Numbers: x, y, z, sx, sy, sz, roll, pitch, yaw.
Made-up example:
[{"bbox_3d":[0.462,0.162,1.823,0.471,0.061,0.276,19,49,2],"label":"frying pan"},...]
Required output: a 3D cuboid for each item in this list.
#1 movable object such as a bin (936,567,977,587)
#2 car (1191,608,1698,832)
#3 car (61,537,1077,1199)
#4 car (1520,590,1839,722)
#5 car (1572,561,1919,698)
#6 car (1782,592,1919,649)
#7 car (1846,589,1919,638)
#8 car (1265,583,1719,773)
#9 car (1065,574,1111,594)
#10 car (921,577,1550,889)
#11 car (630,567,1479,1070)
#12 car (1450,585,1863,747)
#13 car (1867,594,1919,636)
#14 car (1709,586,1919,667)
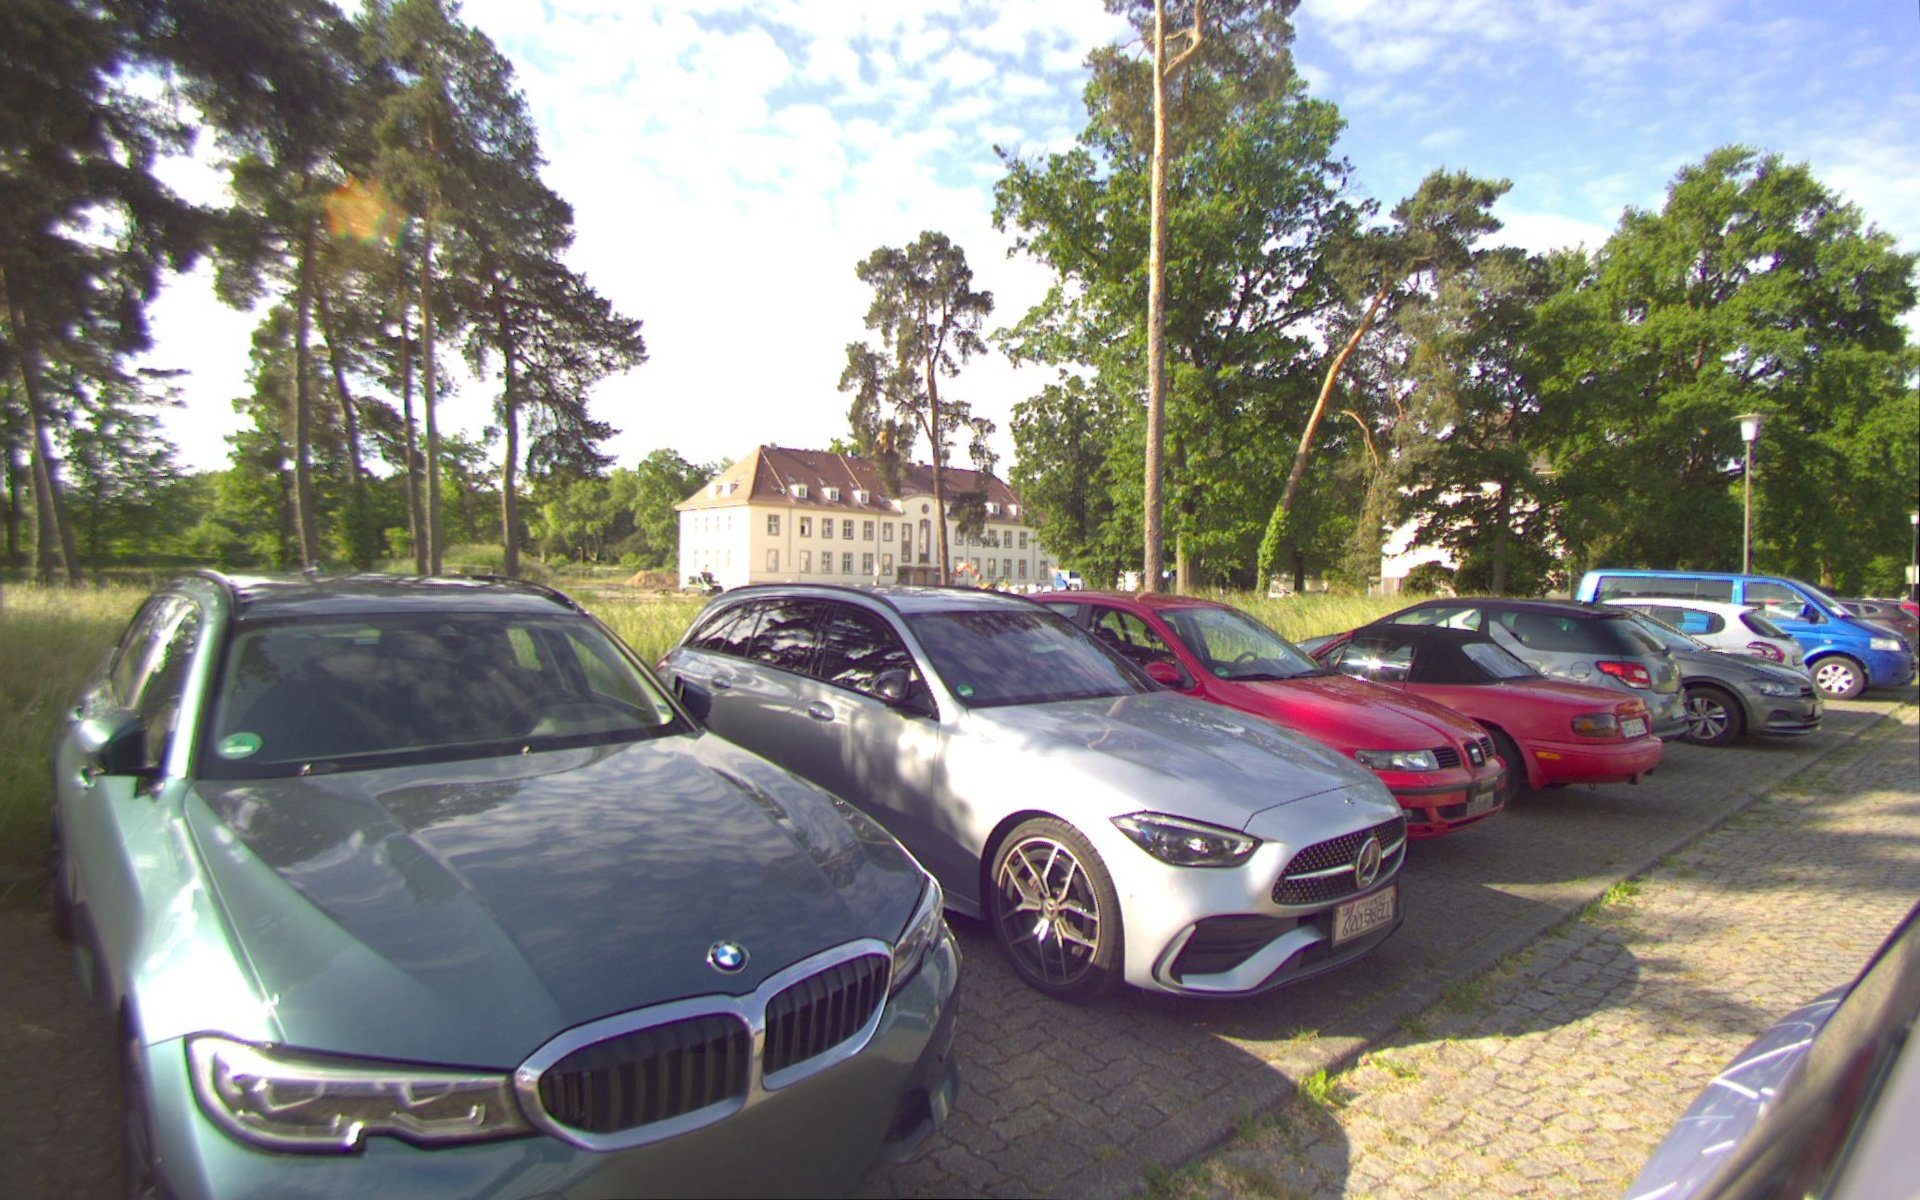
[{"bbox_3d":[-0.398,-2.755,120.441,1.995,2.352,4.906,2,2,45],"label":"movable object such as a bin"},{"bbox_3d":[3.651,0.765,8.036,1.395,1.271,3.354,0,2,-41],"label":"car"},{"bbox_3d":[-1.910,0.582,3.640,1.796,1.535,4.499,0,3,-44],"label":"car"},{"bbox_3d":[9.682,0.654,13.805,1.423,1.509,3.265,0,1,-38],"label":"car"},{"bbox_3d":[13.541,0.369,17.442,1.964,2.039,4.726,0,1,-39],"label":"car"},{"bbox_3d":[27.433,0.586,30.362,1.724,1.537,3.998,0,1,-38],"label":"car"},{"bbox_3d":[35.069,0.488,36.836,1.724,1.763,3.996,0,0,-38],"label":"car"},{"bbox_3d":[5.185,0.614,10.258,1.522,1.509,3.776,0,2,-41],"label":"car"},{"bbox_3d":[13.021,-1.608,102.838,4.689,2.039,1.997,0,1,-41],"label":"car"},{"bbox_3d":[1.610,0.616,6.978,1.632,1.410,3.915,0,3,-41],"label":"car"},{"bbox_3d":[0.054,0.619,5.358,1.795,1.419,4.419,0,3,-42],"label":"car"},{"bbox_3d":[7.807,0.617,11.688,1.478,1.509,3.630,0,1,-31],"label":"car"},{"bbox_3d":[38.633,0.580,39.874,1.724,1.635,3.997,-1,-1,-37],"label":"car"},{"bbox_3d":[20.003,0.541,23.390,1.724,1.660,3.998,0,1,-38],"label":"car"}]
